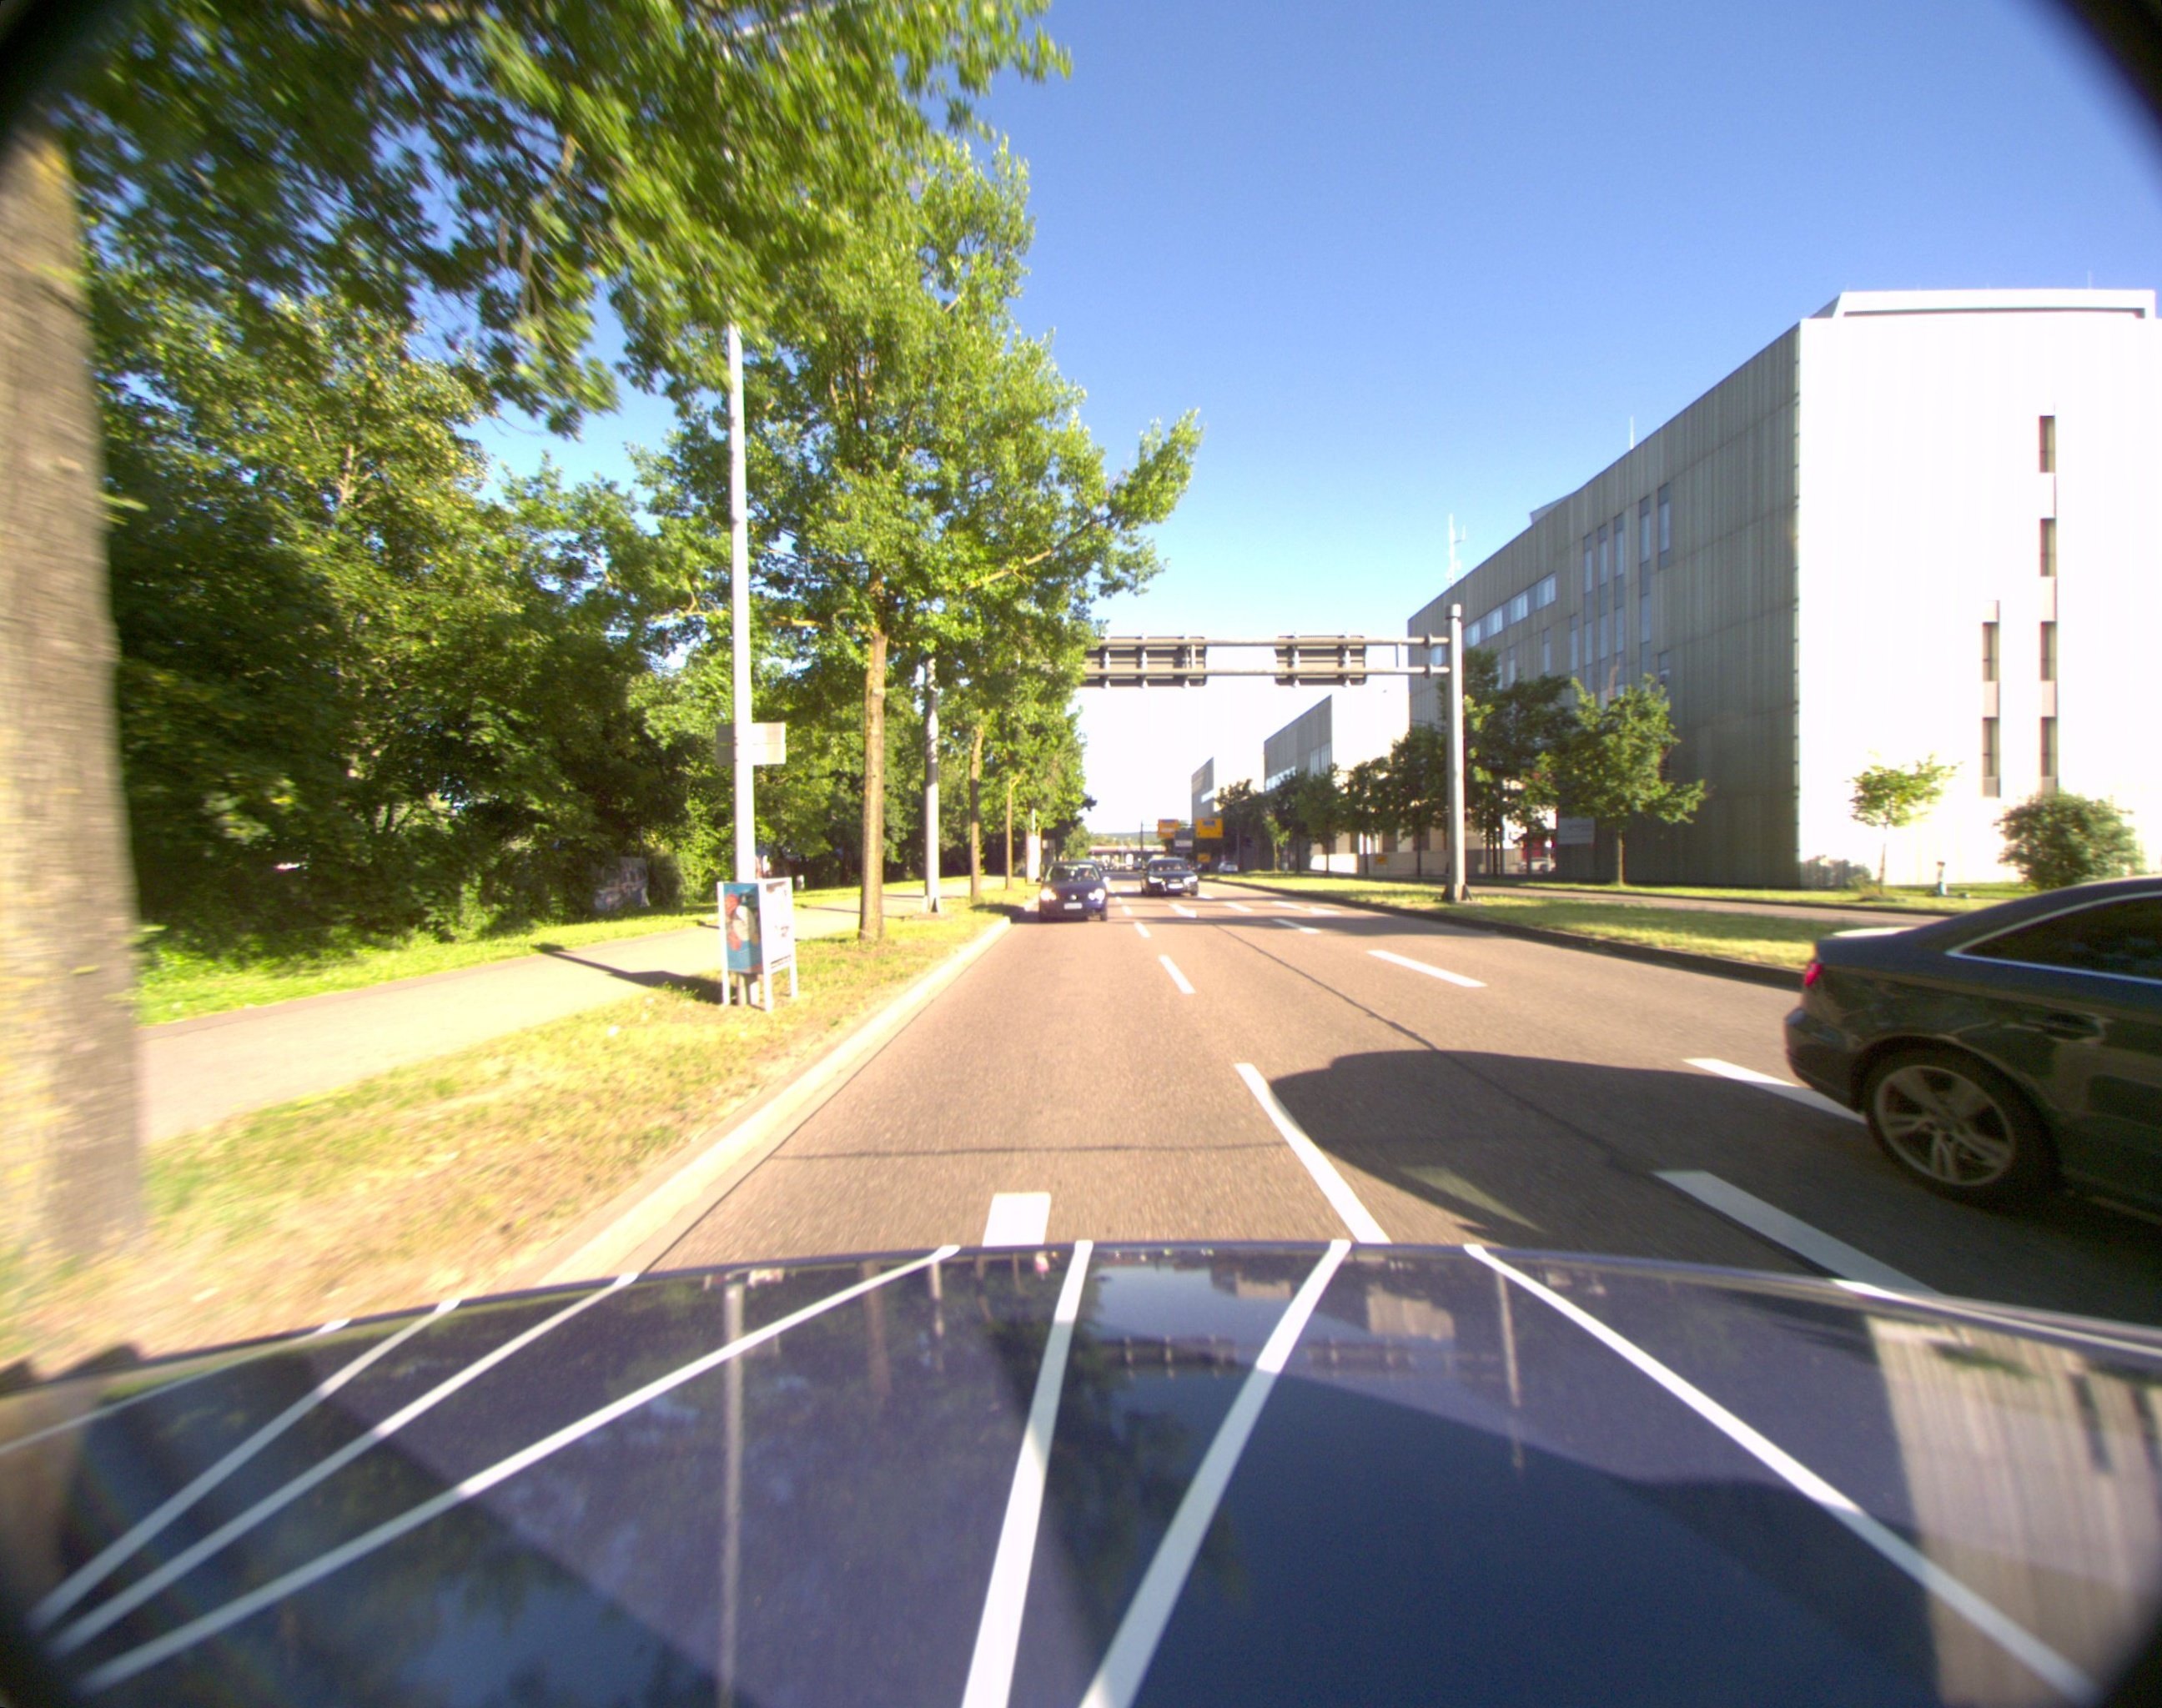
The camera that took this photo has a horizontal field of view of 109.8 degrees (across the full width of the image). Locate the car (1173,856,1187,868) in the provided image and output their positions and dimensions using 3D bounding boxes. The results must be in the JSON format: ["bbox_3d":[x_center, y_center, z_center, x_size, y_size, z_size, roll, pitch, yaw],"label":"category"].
[{"bbox_3d":[17.840,1.388,137.169,1.998,2.172,4.000,0,0,1],"label":"car"}]

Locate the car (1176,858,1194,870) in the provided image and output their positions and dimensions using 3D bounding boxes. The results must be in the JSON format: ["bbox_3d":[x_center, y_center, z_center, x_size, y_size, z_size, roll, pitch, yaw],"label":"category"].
[{"bbox_3d":[14.331,1.390,105.162,1.998,1.569,4.000,0,0,1],"label":"car"}]

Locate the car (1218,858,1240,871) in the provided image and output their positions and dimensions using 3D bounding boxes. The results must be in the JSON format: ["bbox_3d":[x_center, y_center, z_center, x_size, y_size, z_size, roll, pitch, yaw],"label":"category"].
[{"bbox_3d":[17.804,1.234,91.478,1.998,1.569,4.000,0,0,1],"label":"car"}]

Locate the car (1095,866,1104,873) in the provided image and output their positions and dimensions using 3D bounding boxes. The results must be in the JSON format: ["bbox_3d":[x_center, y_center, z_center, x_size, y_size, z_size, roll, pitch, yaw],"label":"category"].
[{"bbox_3d":[4.912,4.123,199.813,1.998,1.678,4.002,0,0,5],"label":"car"}]

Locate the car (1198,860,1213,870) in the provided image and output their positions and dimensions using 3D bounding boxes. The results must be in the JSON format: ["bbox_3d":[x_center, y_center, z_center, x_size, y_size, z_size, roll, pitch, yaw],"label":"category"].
[{"bbox_3d":[21.211,1.903,129.912,1.998,1.569,4.000,0,0,1],"label":"car"}]

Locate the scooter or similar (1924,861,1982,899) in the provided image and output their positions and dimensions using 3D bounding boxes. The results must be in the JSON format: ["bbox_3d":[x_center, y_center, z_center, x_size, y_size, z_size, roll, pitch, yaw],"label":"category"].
[{"bbox_3d":[26.817,0.778,23.386,0.453,1.103,1.408,0,0,14],"label":"scooter or similar"}]

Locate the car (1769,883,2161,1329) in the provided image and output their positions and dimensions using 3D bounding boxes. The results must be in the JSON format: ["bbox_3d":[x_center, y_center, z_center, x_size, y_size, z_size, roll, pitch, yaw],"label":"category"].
[{"bbox_3d":[4.438,0.844,1.666,1.765,1.372,4.357,-1,0,-3],"label":"car"}]

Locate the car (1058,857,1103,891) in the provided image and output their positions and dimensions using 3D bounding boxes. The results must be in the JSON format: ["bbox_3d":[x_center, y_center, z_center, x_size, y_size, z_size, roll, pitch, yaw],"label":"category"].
[{"bbox_3d":[0.032,0.955,37.626,1.756,1.446,4.001,-3,0,6],"label":"car"}]

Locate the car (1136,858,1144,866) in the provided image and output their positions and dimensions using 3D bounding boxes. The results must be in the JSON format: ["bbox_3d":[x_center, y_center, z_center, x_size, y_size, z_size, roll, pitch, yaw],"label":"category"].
[{"bbox_3d":[16.622,2.258,215.105,1.998,2.467,4.571,0,0,1],"label":"car"}]

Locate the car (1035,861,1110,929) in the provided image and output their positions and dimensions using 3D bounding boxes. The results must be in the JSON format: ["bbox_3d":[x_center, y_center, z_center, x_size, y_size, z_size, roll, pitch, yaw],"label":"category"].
[{"bbox_3d":[-0.170,0.960,19.581,1.637,1.459,4.546,-2,0,1],"label":"car"}]

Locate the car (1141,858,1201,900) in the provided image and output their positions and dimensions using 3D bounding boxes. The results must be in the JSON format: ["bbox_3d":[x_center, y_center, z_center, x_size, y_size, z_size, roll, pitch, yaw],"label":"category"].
[{"bbox_3d":[3.392,0.907,29.469,1.797,1.435,5.017,-1,0,1],"label":"car"}]

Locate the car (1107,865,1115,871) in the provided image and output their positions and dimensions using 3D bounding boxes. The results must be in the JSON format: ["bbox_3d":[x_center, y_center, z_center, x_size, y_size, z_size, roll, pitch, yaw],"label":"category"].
[{"bbox_3d":[8.133,3.831,205.415,1.998,1.678,4.002,0,0,5],"label":"car"}]
